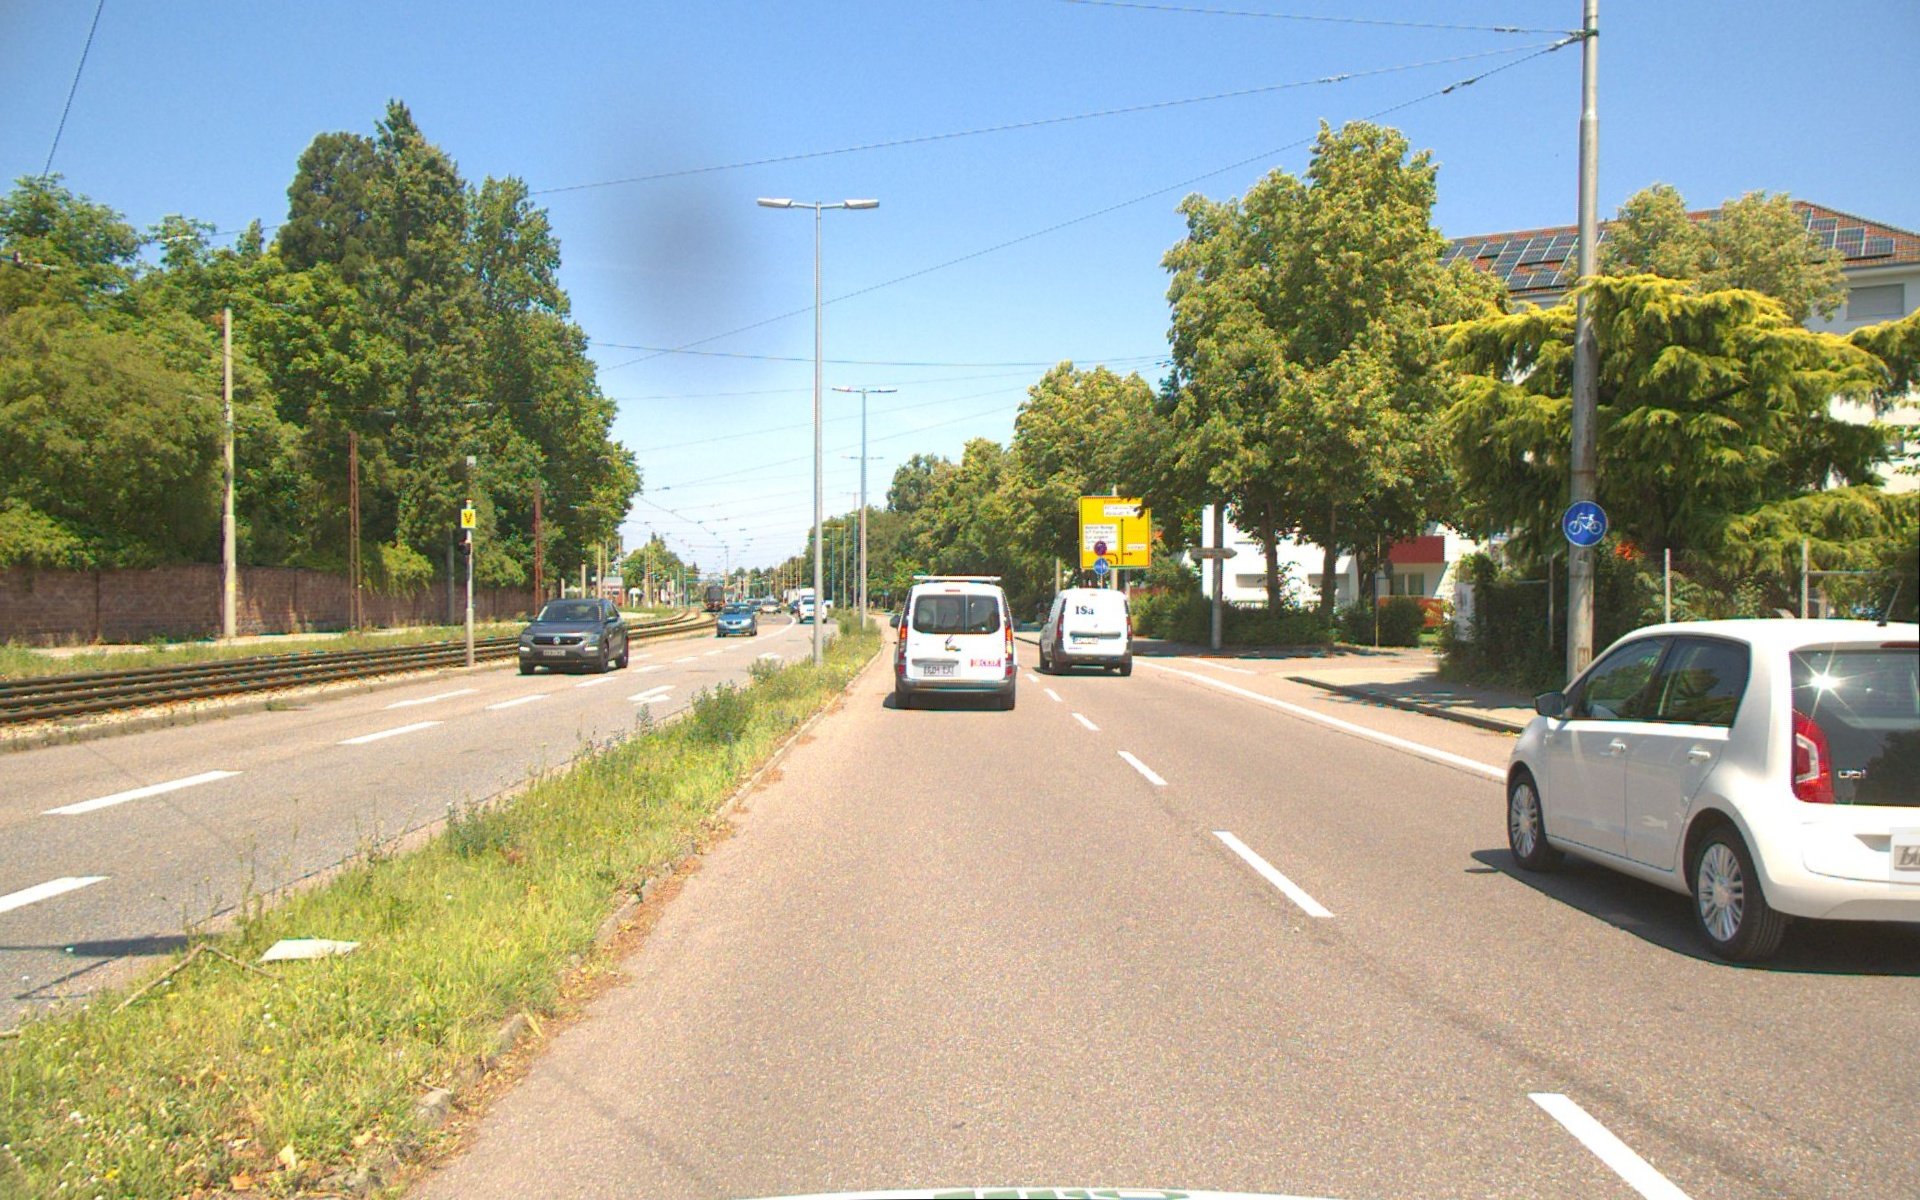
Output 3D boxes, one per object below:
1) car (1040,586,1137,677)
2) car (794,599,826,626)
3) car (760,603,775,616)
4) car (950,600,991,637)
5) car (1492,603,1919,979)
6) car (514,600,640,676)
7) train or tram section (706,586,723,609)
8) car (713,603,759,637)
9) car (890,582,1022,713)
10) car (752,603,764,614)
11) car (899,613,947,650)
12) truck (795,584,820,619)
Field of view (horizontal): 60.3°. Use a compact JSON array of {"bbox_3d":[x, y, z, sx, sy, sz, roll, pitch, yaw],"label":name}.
[{"bbox_3d":[2.744,0.653,36.062,1.692,1.819,4.063,2,0,-1],"label":"car"},{"bbox_3d":[-10.457,0.842,115.306,1.953,1.847,3.999,0,0,-1],"label":"car"},{"bbox_3d":[-23.216,1.132,199.683,1.713,1.594,3.995,2,0,-6],"label":"car"},{"bbox_3d":[0.470,0.831,76.493,1.797,1.596,4.000,2,0,0],"label":"car"},{"bbox_3d":[4.112,0.789,8.424,1.577,1.473,3.434,2,0,-2],"label":"car"},{"bbox_3d":[-8.214,0.775,35.788,1.662,1.539,4.067,0,0,2],"label":"car"},{"bbox_3d":[-34.705,-0.290,233.354,1.957,3.140,16.130,2,0,-9],"label":"train or tram section"},{"bbox_3d":[-9.881,0.861,73.082,1.663,1.464,3.998,-1,0,-3],"label":"car"},{"bbox_3d":[-0.063,0.646,25.013,1.784,1.770,4.396,1,0,0],"label":"car"},{"bbox_3d":[-30.747,1.324,252.223,1.713,1.594,3.995,2,0,-6],"label":"car"},{"bbox_3d":[-1.319,1.099,59.123,1.658,1.237,3.588,2,0,-1],"label":"car"},{"bbox_3d":[-14.585,0.171,158.191,1.953,3.270,5.310,0,0,-1],"label":"truck"}]
